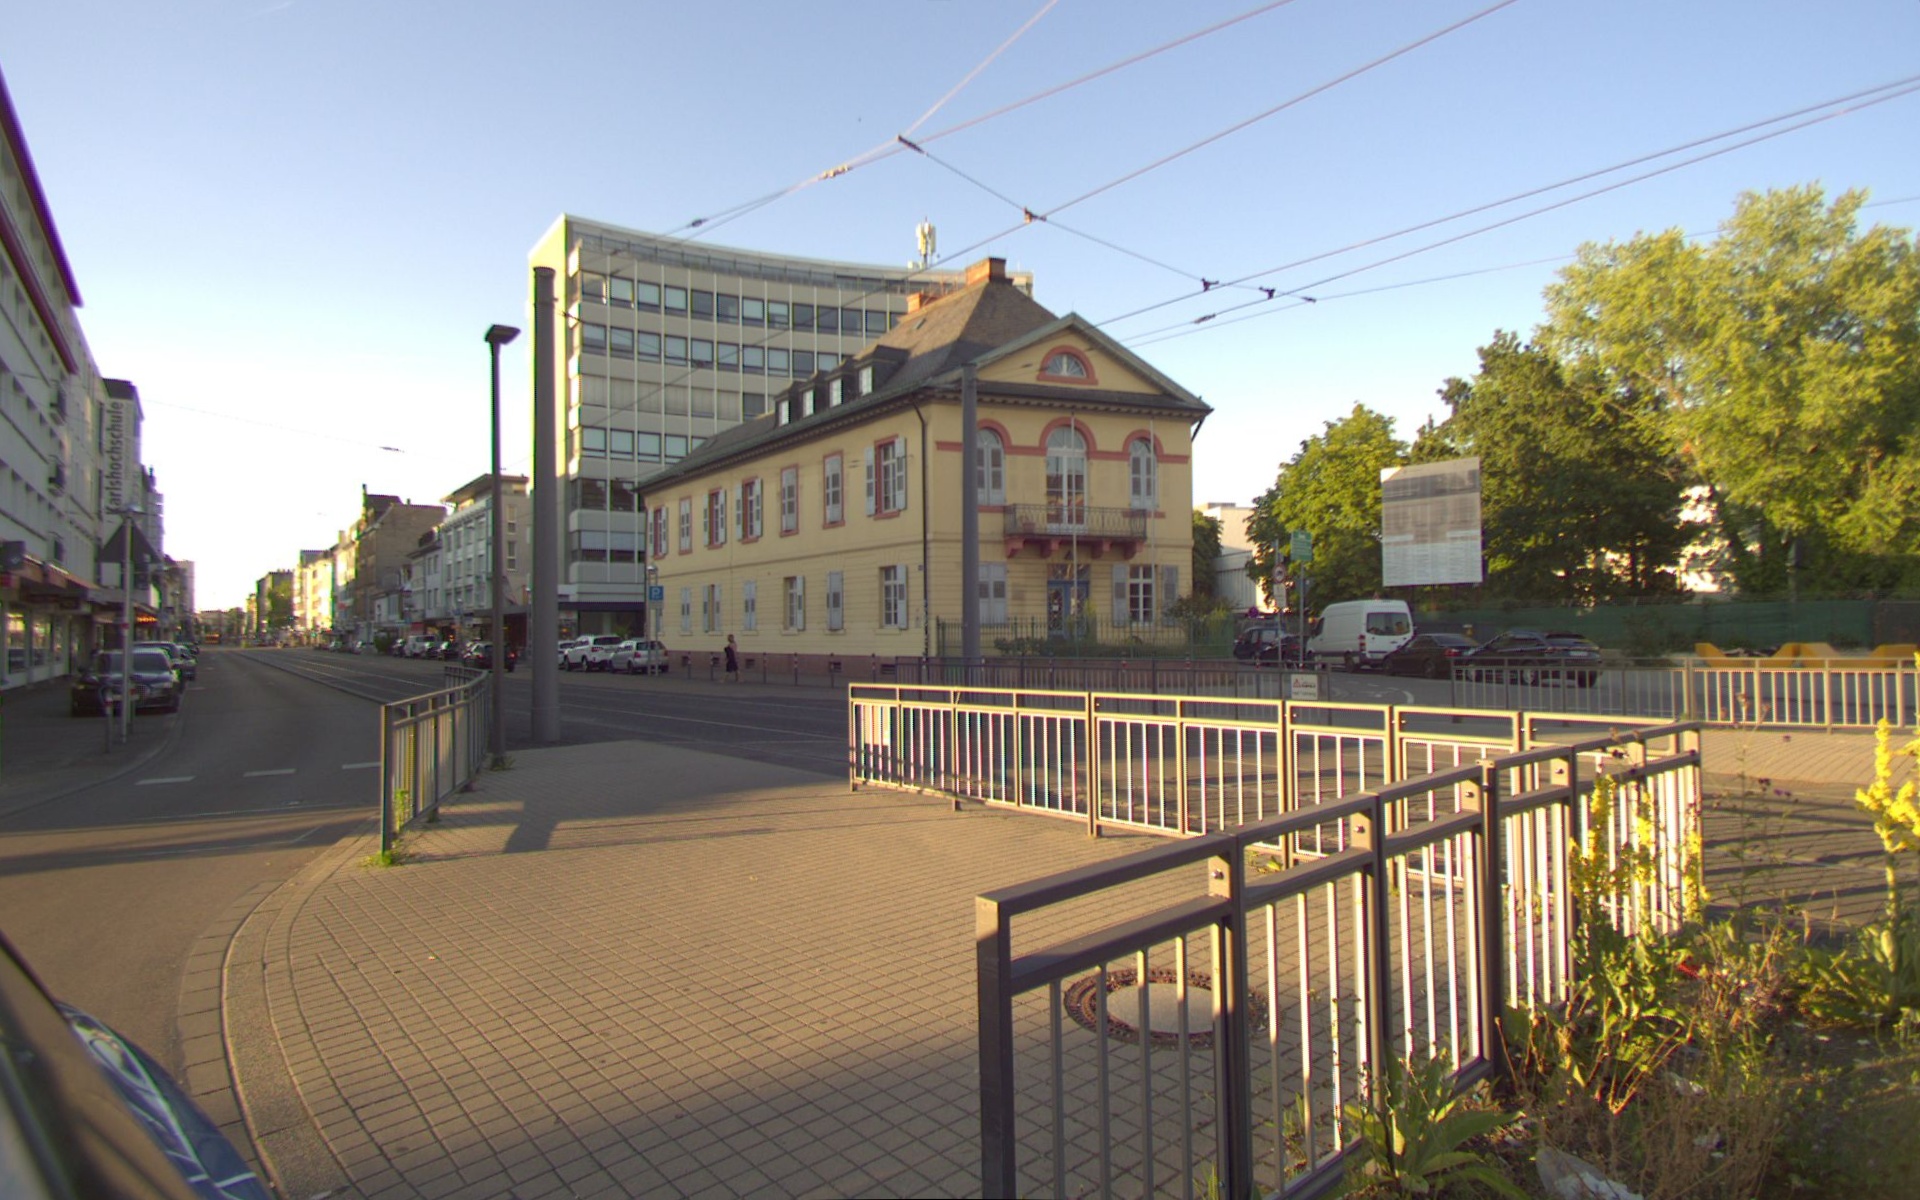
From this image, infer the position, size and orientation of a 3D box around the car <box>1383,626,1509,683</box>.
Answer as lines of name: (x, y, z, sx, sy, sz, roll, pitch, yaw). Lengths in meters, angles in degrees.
car: (15.500, 1.698, 32.537, 1.971, 1.589, 4.001, -2, -1, -1)

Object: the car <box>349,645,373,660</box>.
car: (-67.756, 5.885, 114.464, 1.867, 1.568, 4.633, -1, -1, -37)

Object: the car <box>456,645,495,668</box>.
car: (-32.541, 3.782, 67.879, 1.669, 1.445, 3.600, 0, -3, -37)

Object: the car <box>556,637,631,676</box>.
car: (-17.343, 2.654, 47.752, 1.863, 1.673, 4.769, -1, -1, -39)

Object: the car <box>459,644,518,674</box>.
car: (-23.249, 2.868, 49.817, 1.744, 1.387, 4.231, 1, -2, -37)

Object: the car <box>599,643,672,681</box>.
car: (-14.026, 2.646, 43.565, 1.725, 1.485, 4.008, -1, -2, -37)

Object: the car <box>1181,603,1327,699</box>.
car: (6.945, 1.161, 23.679, 1.997, 2.029, 3.950, -2, -3, 37)

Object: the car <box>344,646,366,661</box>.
car: (-70.425, 6.209, 117.775, 1.634, 1.582, 3.477, -1, -1, -39)

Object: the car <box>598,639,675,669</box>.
car: (-19.302, 3.179, 60.393, 3.937, 1.565, 1.917, -1, -1, -39)

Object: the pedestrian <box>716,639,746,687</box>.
pedestrian: (-7.469, 2.048, 33.017, 0.710, 1.548, 0.720, 2, -3, -41)

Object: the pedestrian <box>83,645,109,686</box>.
pedestrian: (-33.949, 2.562, 39.781, 0.723, 1.586, 0.969, 1, -3, -38)

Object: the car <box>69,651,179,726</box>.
car: (-19.303, 1.971, 23.524, 1.767, 1.423, 4.697, -1, -1, -37)

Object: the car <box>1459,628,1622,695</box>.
car: (15.684, 1.620, 27.625, 1.971, 1.558, 4.001, -2, -1, -1)

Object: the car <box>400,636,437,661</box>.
car: (-46.672, 4.178, 87.138, 1.939, 2.029, 5.110, -1, -1, -38)

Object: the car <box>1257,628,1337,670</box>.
car: (14.503, 2.075, 43.742, 1.971, 1.589, 4.001, -2, -1, -1)

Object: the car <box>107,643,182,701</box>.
car: (-27.169, 2.342, 33.825, 1.832, 1.714, 4.427, -1, -1, -38)

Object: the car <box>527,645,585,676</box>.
car: (-21.146, 3.121, 52.918, 1.698, 1.464, 4.292, -1, -1, -38)

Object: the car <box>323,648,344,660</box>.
car: (-87.250, 7.513, 140.957, 1.968, 1.431, 4.411, -1, -1, -39)

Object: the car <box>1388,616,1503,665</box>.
car: (21.032, 1.775, 43.916, 1.969, 2.029, 4.006, 1, -3, -41)

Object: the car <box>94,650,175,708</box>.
car: (-23.710, 2.213, 29.178, 1.630, 1.431, 4.200, -1, -1, -37)

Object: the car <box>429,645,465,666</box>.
car: (-38.354, 4.124, 75.583, 1.766, 1.472, 4.100, 1, -3, -36)

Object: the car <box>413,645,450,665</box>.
car: (-42.332, 4.349, 81.015, 1.847, 1.437, 4.581, -1, -1, -37)

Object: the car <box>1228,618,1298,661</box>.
car: (14.423, 1.856, 48.458, 1.971, 1.900, 4.001, -2, -1, -1)

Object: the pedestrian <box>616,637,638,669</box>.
pedestrian: (-16.832, 2.660, 51.095, 0.789, 1.553, 0.879, -1, -1, -35)

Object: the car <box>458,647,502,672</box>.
car: (-30.371, 3.716, 63.977, 1.670, 1.436, 3.973, -2, -1, -37)

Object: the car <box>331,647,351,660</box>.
car: (-80.290, 6.900, 131.322, 1.817, 1.504, 3.824, -1, -1, -37)

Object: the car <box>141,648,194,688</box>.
car: (-35.029, 2.963, 44.760, 1.769, 1.544, 4.866, -1, -1, -38)

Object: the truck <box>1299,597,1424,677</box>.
truck: (14.959, 1.342, 38.131, 2.164, 2.719, 5.470, -2, -1, -3)
